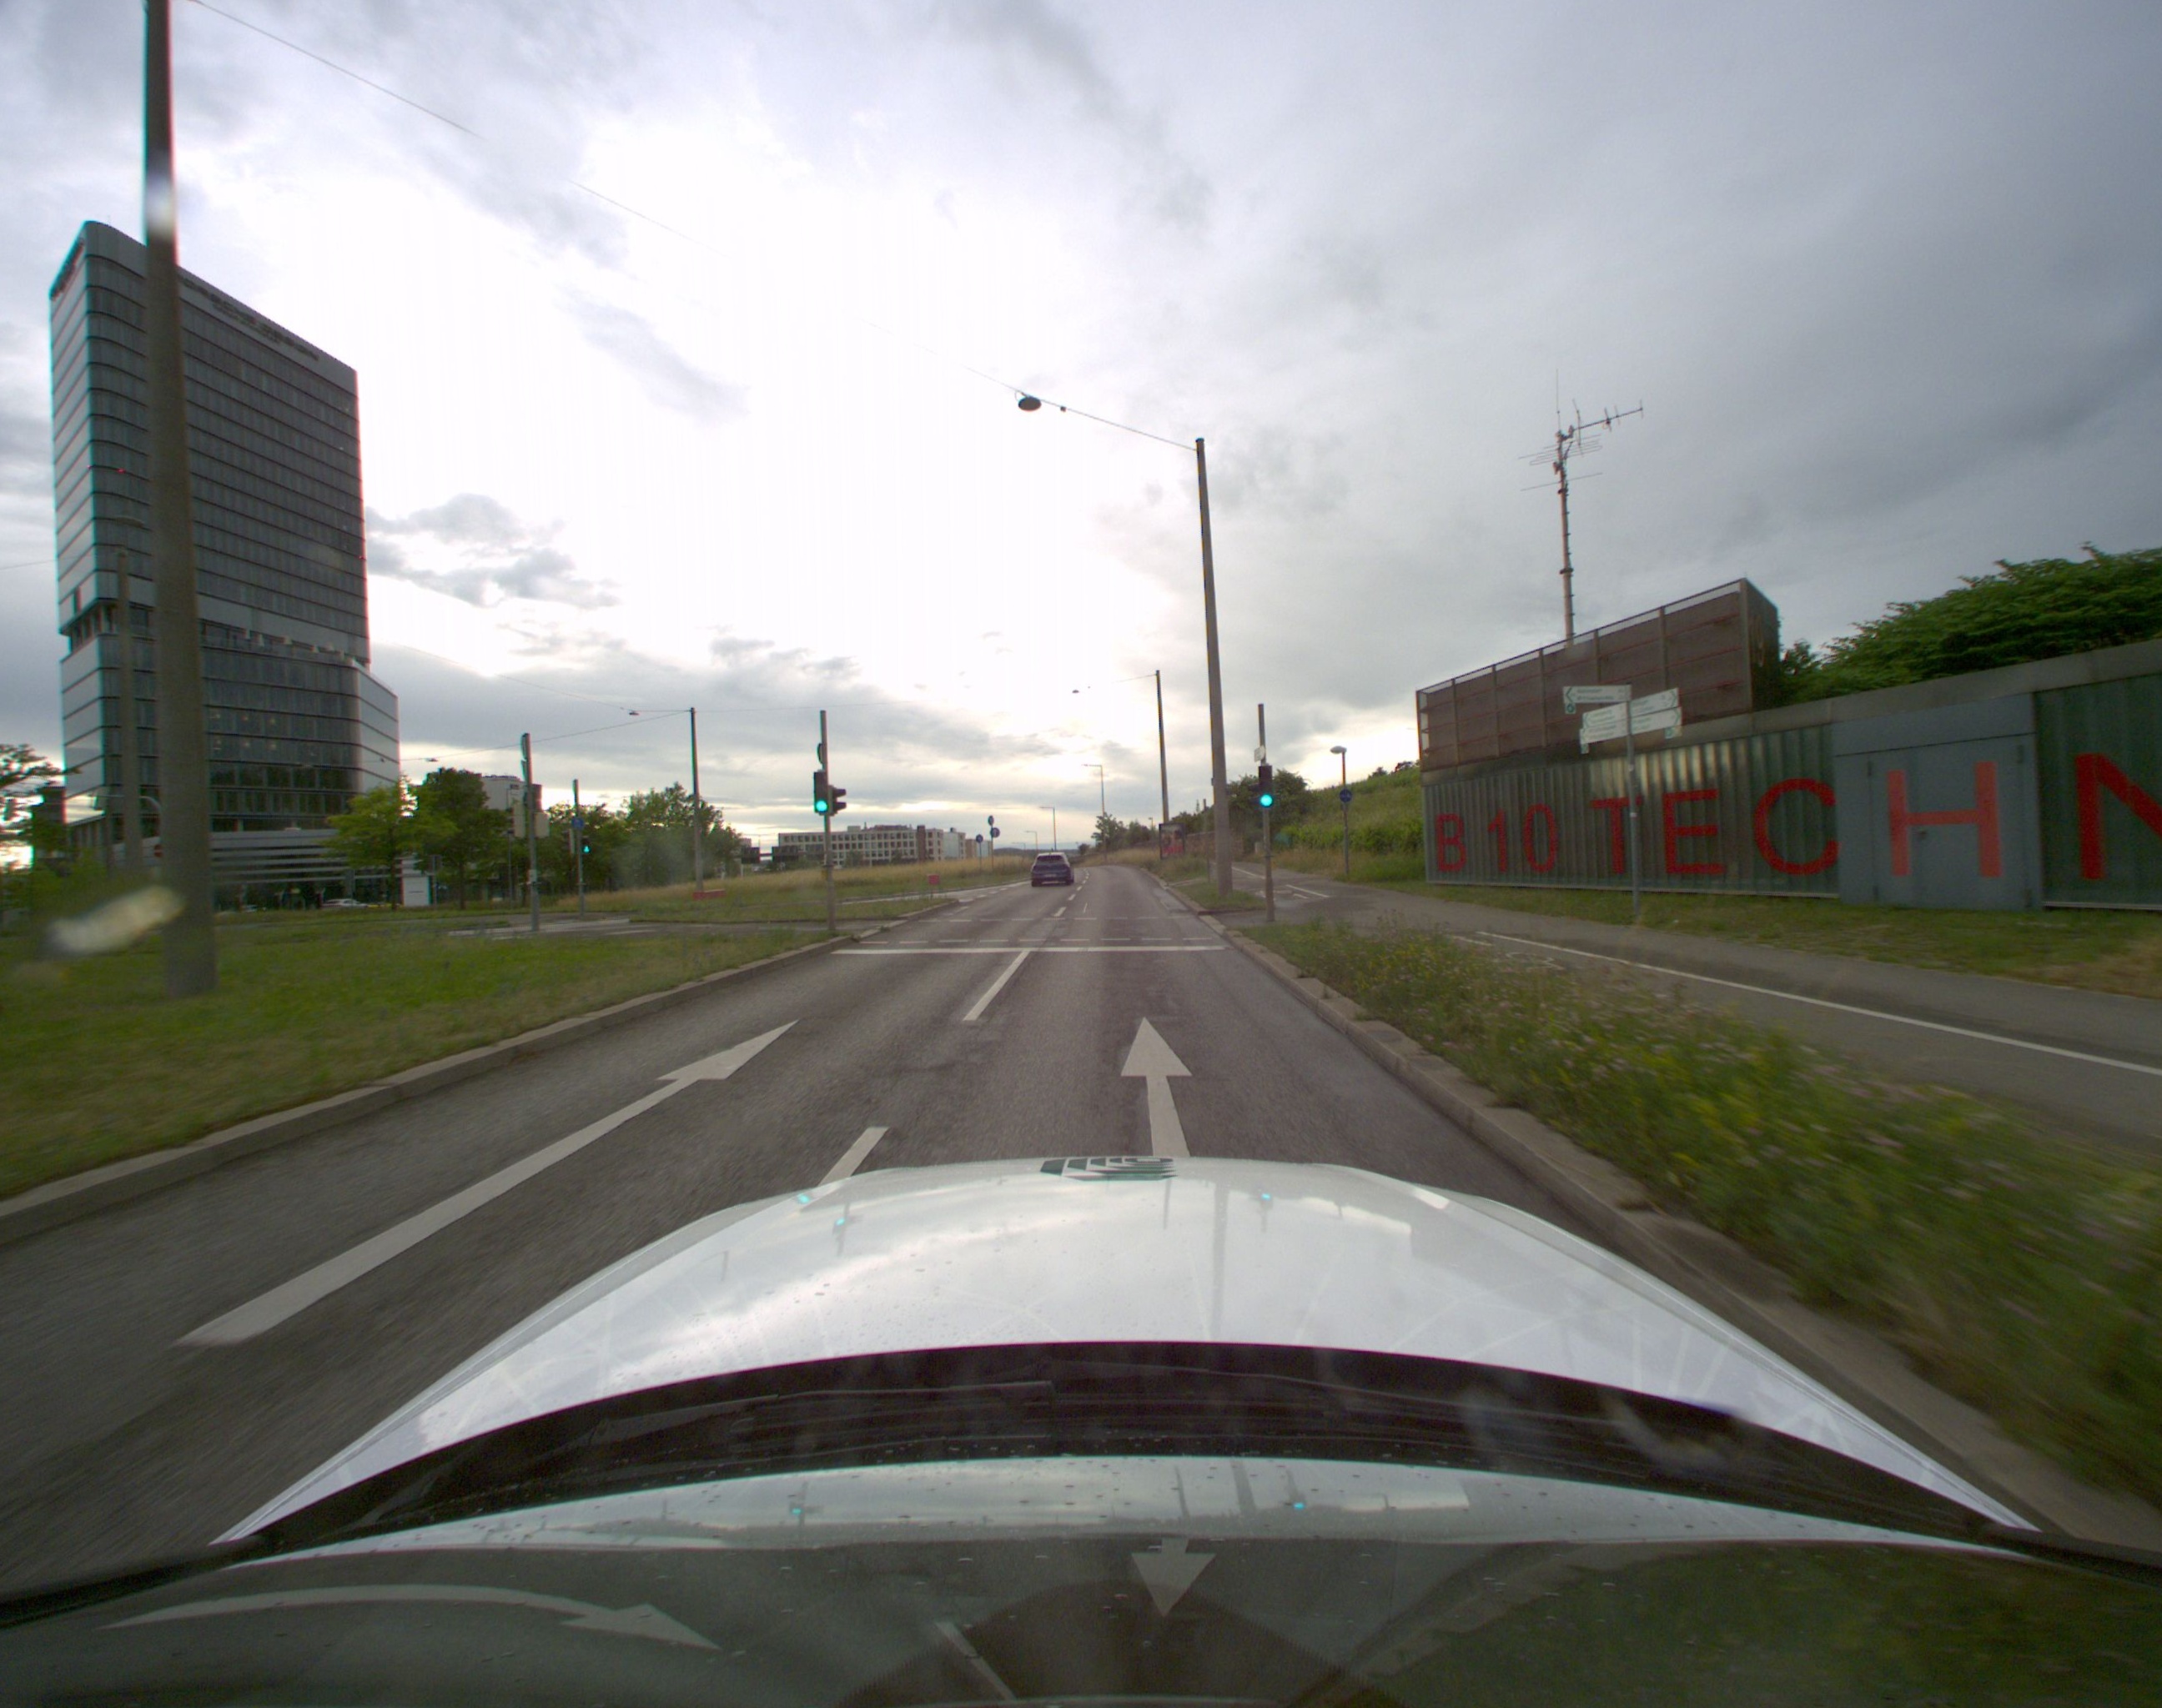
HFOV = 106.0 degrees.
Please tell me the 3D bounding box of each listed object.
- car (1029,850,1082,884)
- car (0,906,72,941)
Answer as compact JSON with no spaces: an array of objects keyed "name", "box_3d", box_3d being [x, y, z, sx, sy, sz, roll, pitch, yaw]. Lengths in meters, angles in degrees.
[{"name":"car","box_3d":[-1.100,0.589,36.981,1.829,1.393,4.006,-3,-1,6]},{"name":"car","box_3d":[-55.251,3.623,42.154,3.591,1.561,1.627,-2,0,-44]}]
